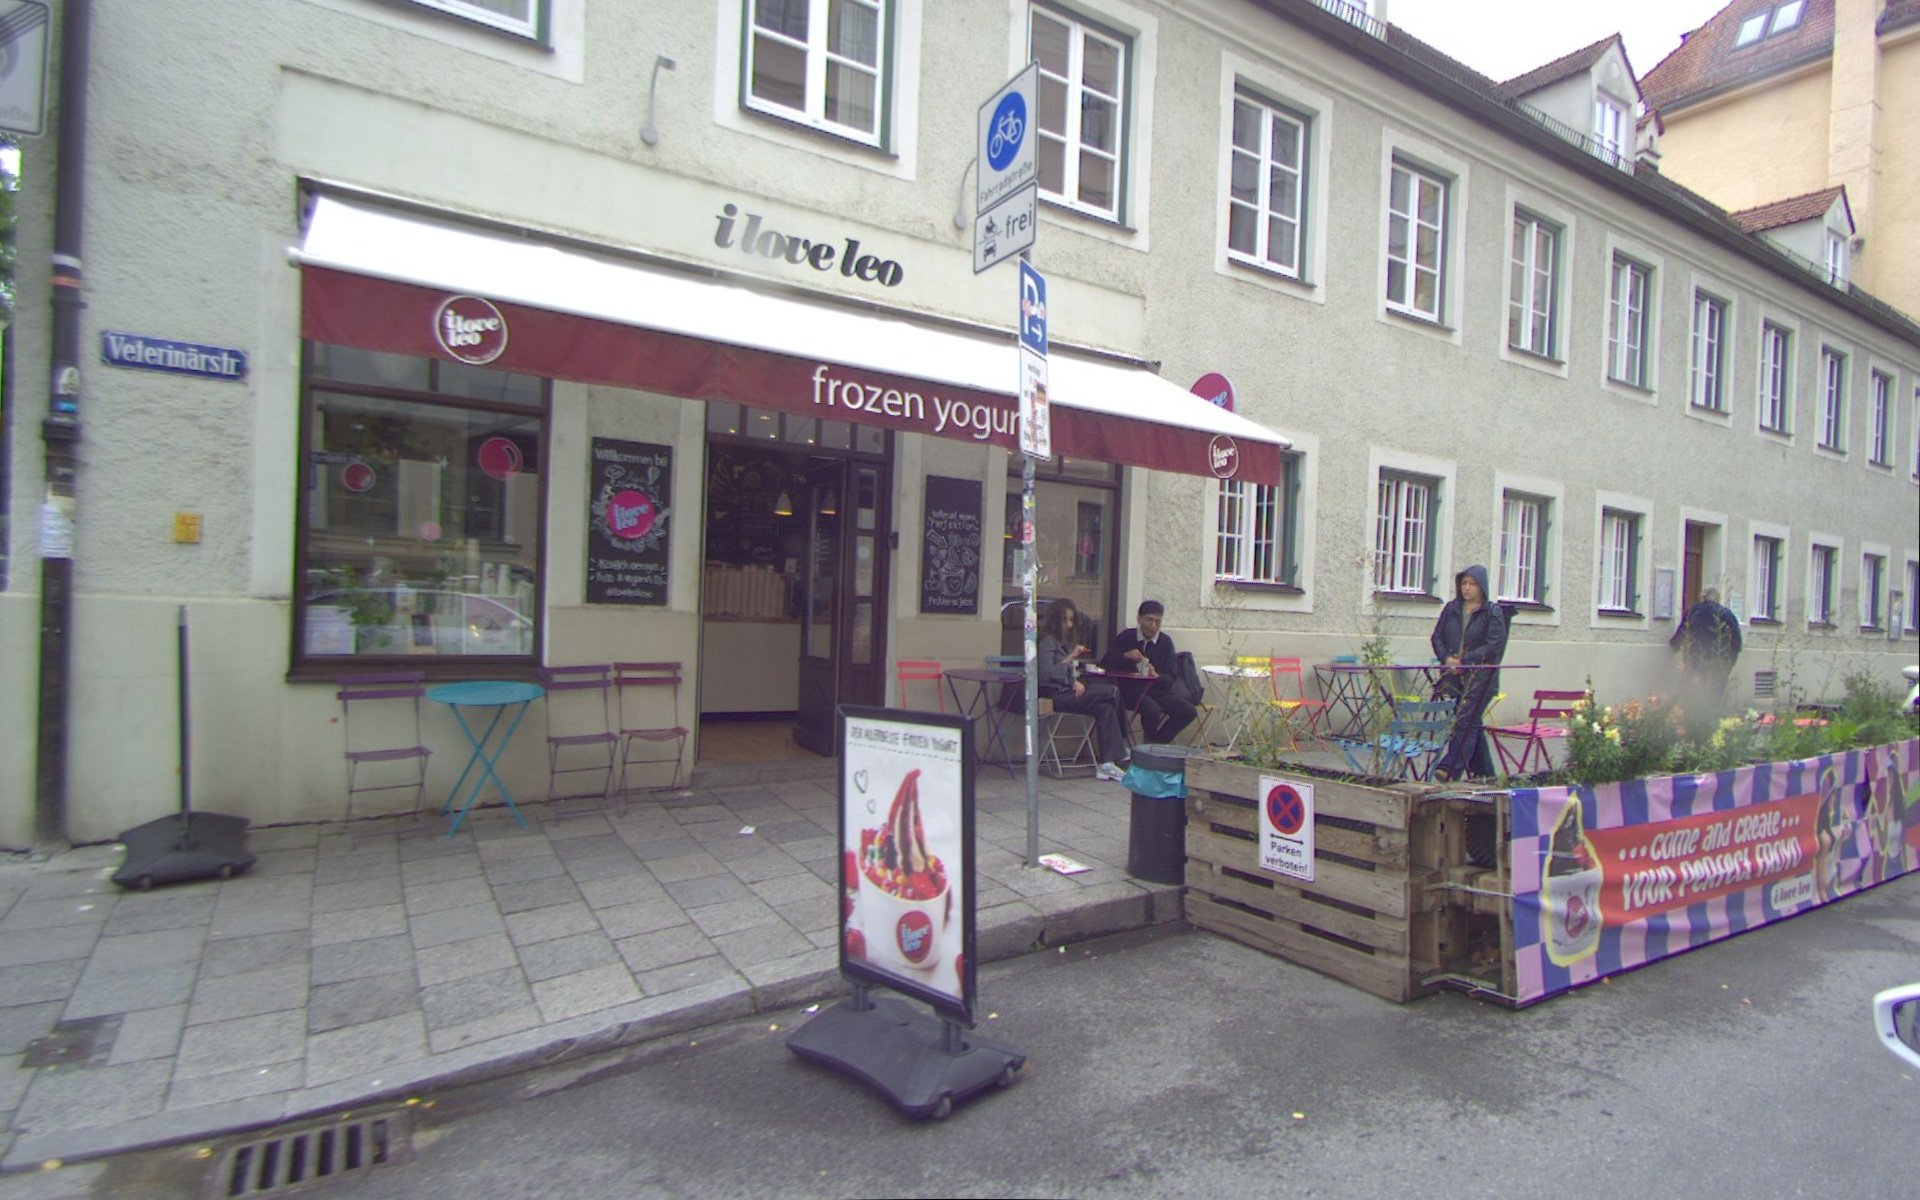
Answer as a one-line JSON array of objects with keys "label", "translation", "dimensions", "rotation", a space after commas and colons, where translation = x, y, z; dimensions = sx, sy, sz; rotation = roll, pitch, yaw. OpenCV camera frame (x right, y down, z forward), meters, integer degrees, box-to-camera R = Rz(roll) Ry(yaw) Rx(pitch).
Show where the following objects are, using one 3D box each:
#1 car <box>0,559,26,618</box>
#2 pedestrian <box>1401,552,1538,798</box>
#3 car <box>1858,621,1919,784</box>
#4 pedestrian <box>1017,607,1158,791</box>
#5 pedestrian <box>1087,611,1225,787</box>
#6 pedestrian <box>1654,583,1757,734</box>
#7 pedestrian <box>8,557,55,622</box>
[{"label": "car", "translation": [-26.975, -0.284, 26.981], "dimensions": [1.753, 1.617, 4.135], "rotation": [-2, 2, -29]}, {"label": "pedestrian", "translation": [3.972, 0.567, 7.824], "dimensions": [0.868, 1.805, 0.526], "rotation": [3, -1, -32]}, {"label": "car", "translation": [10.636, 1.016, 9.974], "dimensions": [3.677, 1.495, 1.743], "rotation": [2, 1, -35]}, {"label": "pedestrian", "translation": [0.967, 0.724, 7.713], "dimensions": [0.686, 1.307, 0.799], "rotation": [3, -1, -31]}, {"label": "pedestrian", "translation": [1.570, 0.766, 8.097], "dimensions": [0.686, 1.307, 0.799], "rotation": [3, -1, -31]}, {"label": "pedestrian", "translation": [9.853, 0.754, 13.281], "dimensions": [0.819, 1.923, 0.818], "rotation": [3, -1, -33]}, {"label": "pedestrian", "translation": [-23.485, -0.257, 25.420], "dimensions": [0.565, 1.603, 0.679], "rotation": [3, -1, -15]}]
